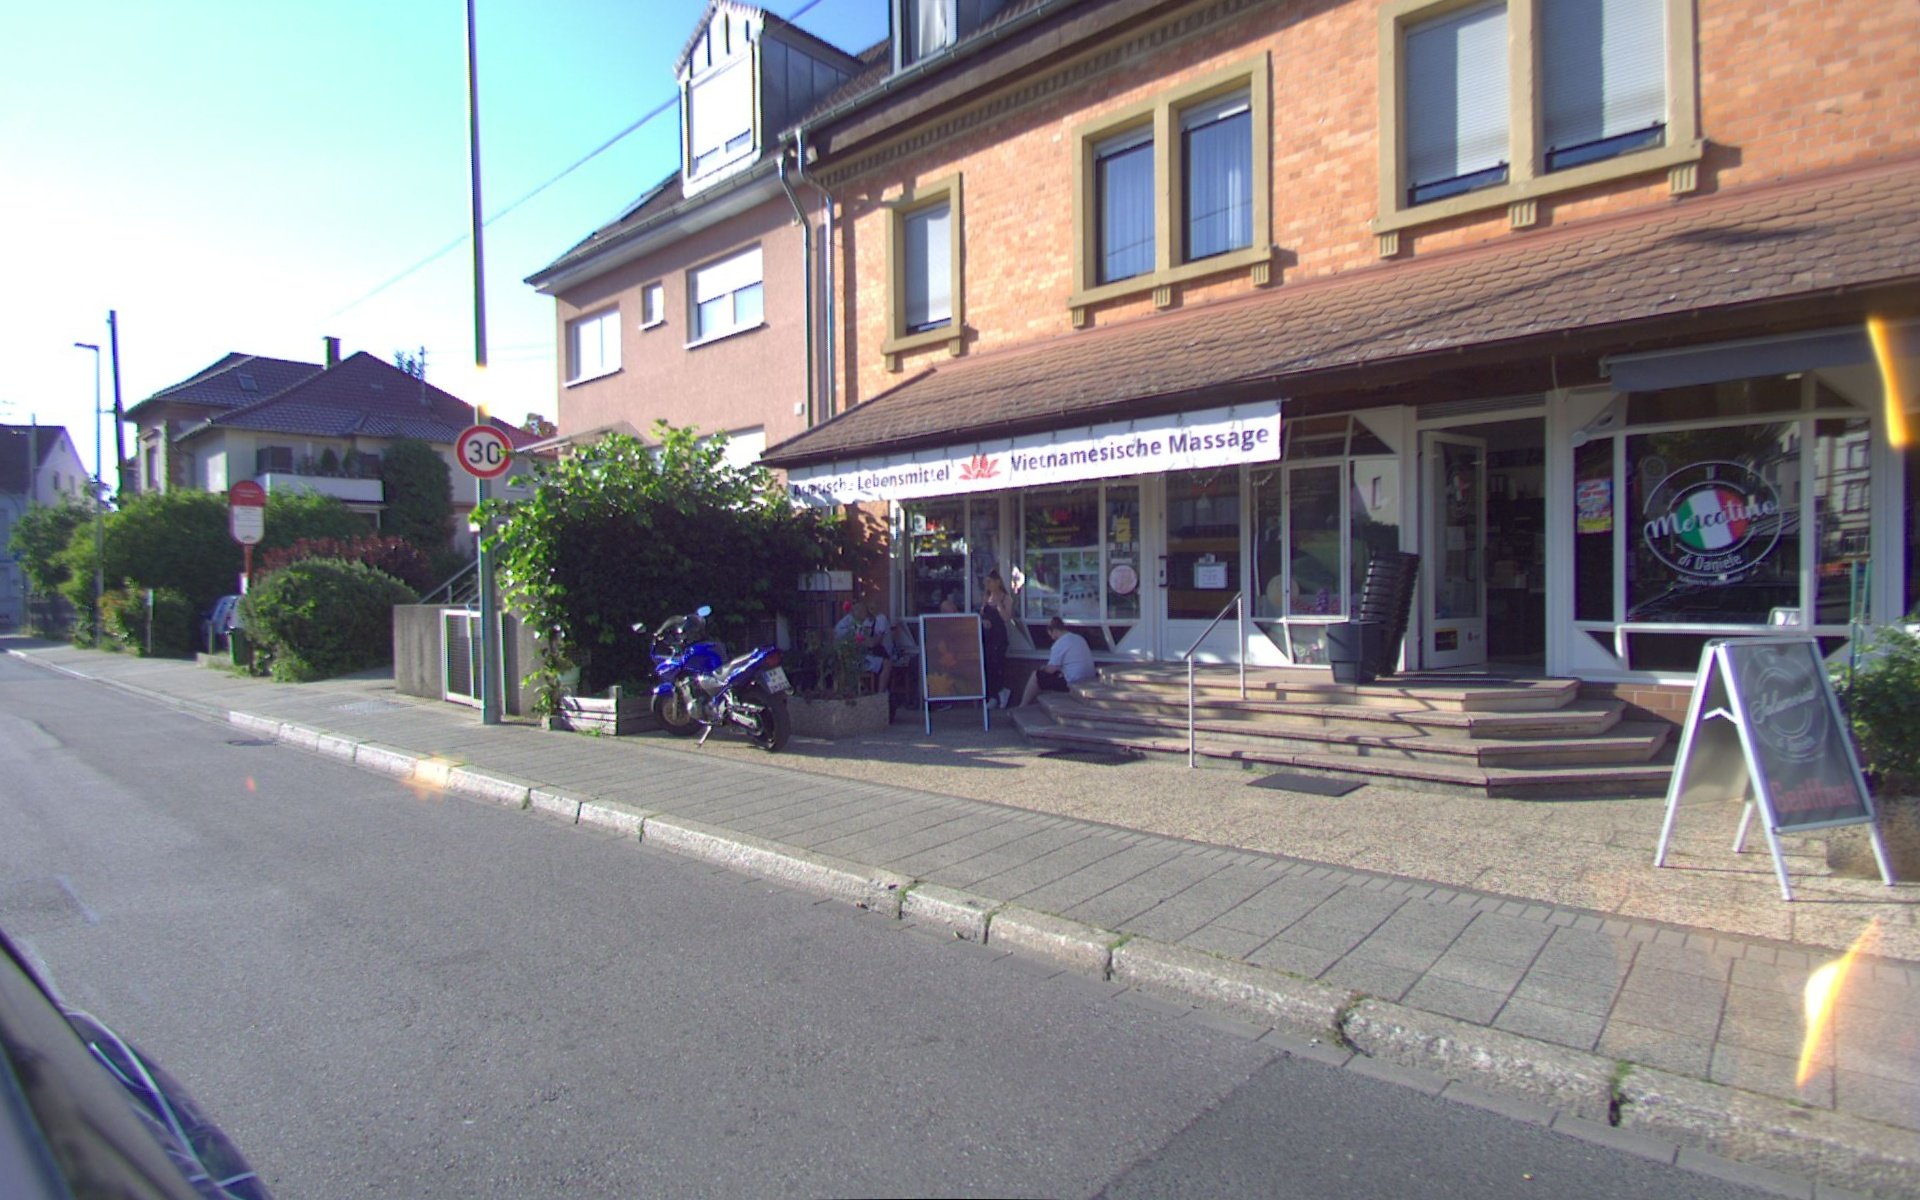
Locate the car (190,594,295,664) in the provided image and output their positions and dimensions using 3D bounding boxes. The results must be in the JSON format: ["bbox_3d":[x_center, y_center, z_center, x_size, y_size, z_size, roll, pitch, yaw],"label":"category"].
[{"bbox_3d":[-20.857,0.844,29.378,3.672,1.828,1.682,-1,-6,44],"label":"car"}]

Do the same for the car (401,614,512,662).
[{"bbox_3d":[-17.051,1.264,34.221,3.786,1.529,1.823,0,-3,37],"label":"car"}]

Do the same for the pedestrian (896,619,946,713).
[{"bbox_3d":[-0.452,0.755,11.850,0.382,1.055,0.520,-1,0,25],"label":"pedestrian"}]

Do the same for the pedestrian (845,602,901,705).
[{"bbox_3d":[-1.103,0.663,12.872,0.465,1.268,0.517,-1,0,43],"label":"pedestrian"}]

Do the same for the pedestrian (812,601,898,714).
[{"bbox_3d":[-1.236,0.650,11.879,0.667,1.253,0.736,-1,0,45],"label":"pedestrian"}]

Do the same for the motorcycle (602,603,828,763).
[{"bbox_3d":[-2.311,0.692,9.380,2.230,1.292,0.831,-1,1,39],"label":"motorcycle"}]

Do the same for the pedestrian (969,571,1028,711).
[{"bbox_3d":[0.441,0.459,11.671,0.503,1.572,0.459,0,0,43],"label":"pedestrian"}]

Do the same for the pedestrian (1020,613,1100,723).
[{"bbox_3d":[1.068,0.705,10.790,0.632,1.118,0.557,-1,0,42],"label":"pedestrian"}]
